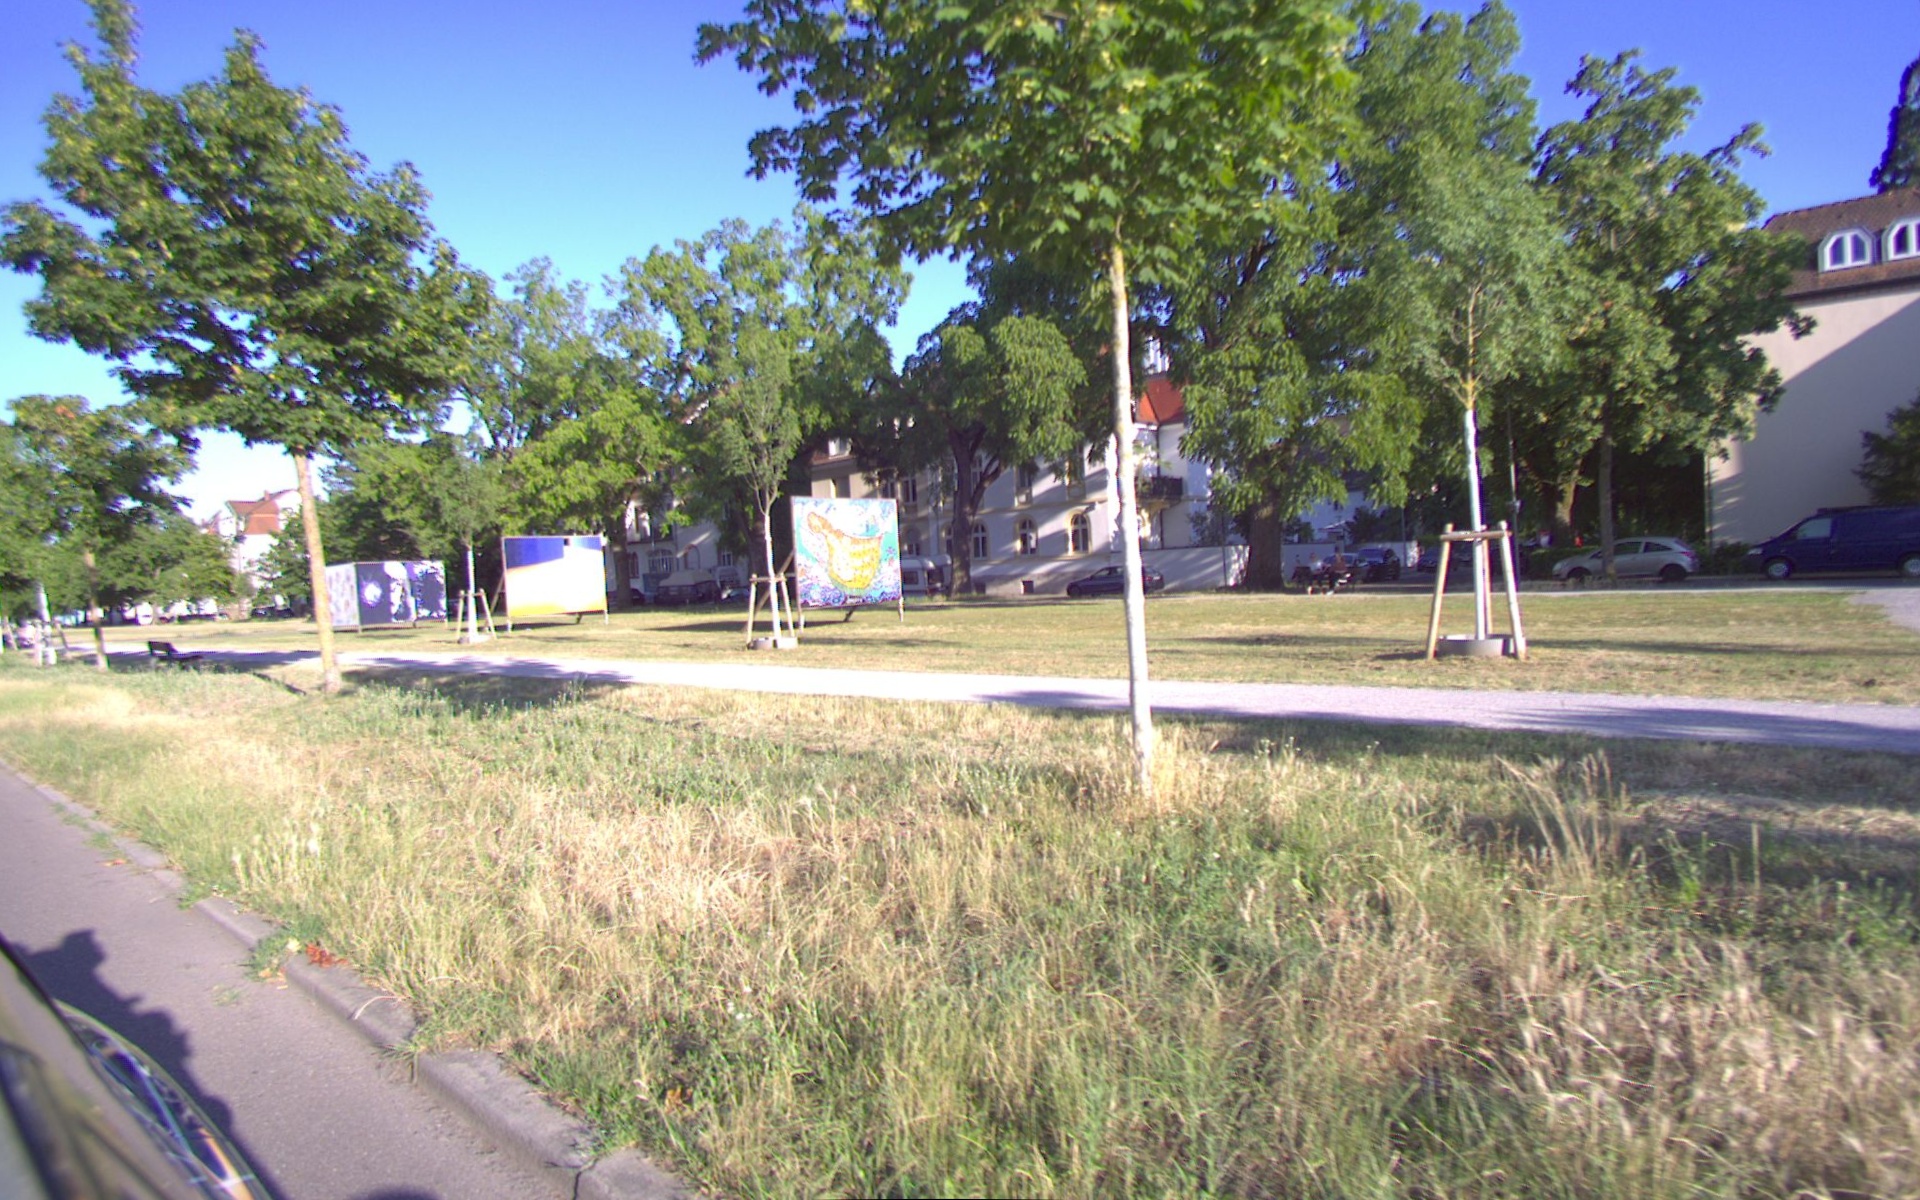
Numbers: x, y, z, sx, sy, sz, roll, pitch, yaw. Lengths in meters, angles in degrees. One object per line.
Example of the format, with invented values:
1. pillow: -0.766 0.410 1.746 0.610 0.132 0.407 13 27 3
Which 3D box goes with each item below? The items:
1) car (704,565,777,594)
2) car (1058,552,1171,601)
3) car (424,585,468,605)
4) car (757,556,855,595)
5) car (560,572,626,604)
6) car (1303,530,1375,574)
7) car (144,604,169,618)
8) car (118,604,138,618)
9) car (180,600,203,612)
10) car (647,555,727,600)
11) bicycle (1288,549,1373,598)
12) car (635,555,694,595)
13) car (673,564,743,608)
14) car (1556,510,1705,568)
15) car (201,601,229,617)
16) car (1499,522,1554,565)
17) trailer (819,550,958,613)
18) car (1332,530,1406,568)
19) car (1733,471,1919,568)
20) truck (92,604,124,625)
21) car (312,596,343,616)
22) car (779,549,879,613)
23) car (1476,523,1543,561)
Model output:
1. car: -11.719 -1.088 53.882 4.043 1.325 1.833 -1 3 44
2. car: 6.905 -1.038 45.496 4.713 1.926 1.870 -3 1 42
3. car: -47.110 -0.451 92.795 3.993 1.510 1.976 -3 0 37
4. car: -7.707 -1.219 50.490 4.947 1.654 1.974 -2 3 40
5. car: -23.366 -0.768 64.340 4.341 1.741 1.974 -3 0 40
6. car: 18.079 -2.284 48.142 1.978 1.914 4.472 -3 1 36
7. car: -115.904 1.624 145.997 3.997 2.029 2.099 -1 -1 40
8. car: -130.979 1.708 159.284 4.001 2.028 1.972 -3 0 44
9. car: -116.963 0.919 154.006 3.995 1.859 1.974 -1 -1 39
10. car: -15.467 -1.259 57.282 4.566 2.190 1.974 -3 0 39
11. bicycle: 10.984 -0.768 30.058 2.331 1.352 0.505 -2 1 45
12. car: -20.152 -1.686 69.053 3.998 2.560 1.973 0 2 41
13. car: -16.425 -0.865 65.949 5.042 2.660 1.925 -1 -1 42
14. car: 21.615 -1.936 32.677 3.806 1.554 1.974 -2 2 40
15. car: -92.477 1.076 125.553 3.998 1.715 1.973 -3 0 42
16. car: 30.394 -3.029 54.252 1.868 2.139 3.949 -2 2 39
17. trailer: -3.367 -0.751 46.563 6.632 2.679 2.448 -1 -1 41
18. car: 21.286 -2.661 52.607 2.070 1.782 5.002 -2 2 40
19. car: 25.568 -2.251 29.130 5.116 2.437 1.916 -1 -1 42
20. truck: -142.818 2.441 169.647 7.704 3.169 2.750 -2 2 40
21. car: -71.556 0.660 114.529 4.001 2.028 1.972 -2 2 44
22. car: -7.558 -1.032 57.945 6.072 3.273 1.973 -3 0 41
23. car: 27.345 -2.887 50.280 2.178 1.692 4.094 -2 2 39
